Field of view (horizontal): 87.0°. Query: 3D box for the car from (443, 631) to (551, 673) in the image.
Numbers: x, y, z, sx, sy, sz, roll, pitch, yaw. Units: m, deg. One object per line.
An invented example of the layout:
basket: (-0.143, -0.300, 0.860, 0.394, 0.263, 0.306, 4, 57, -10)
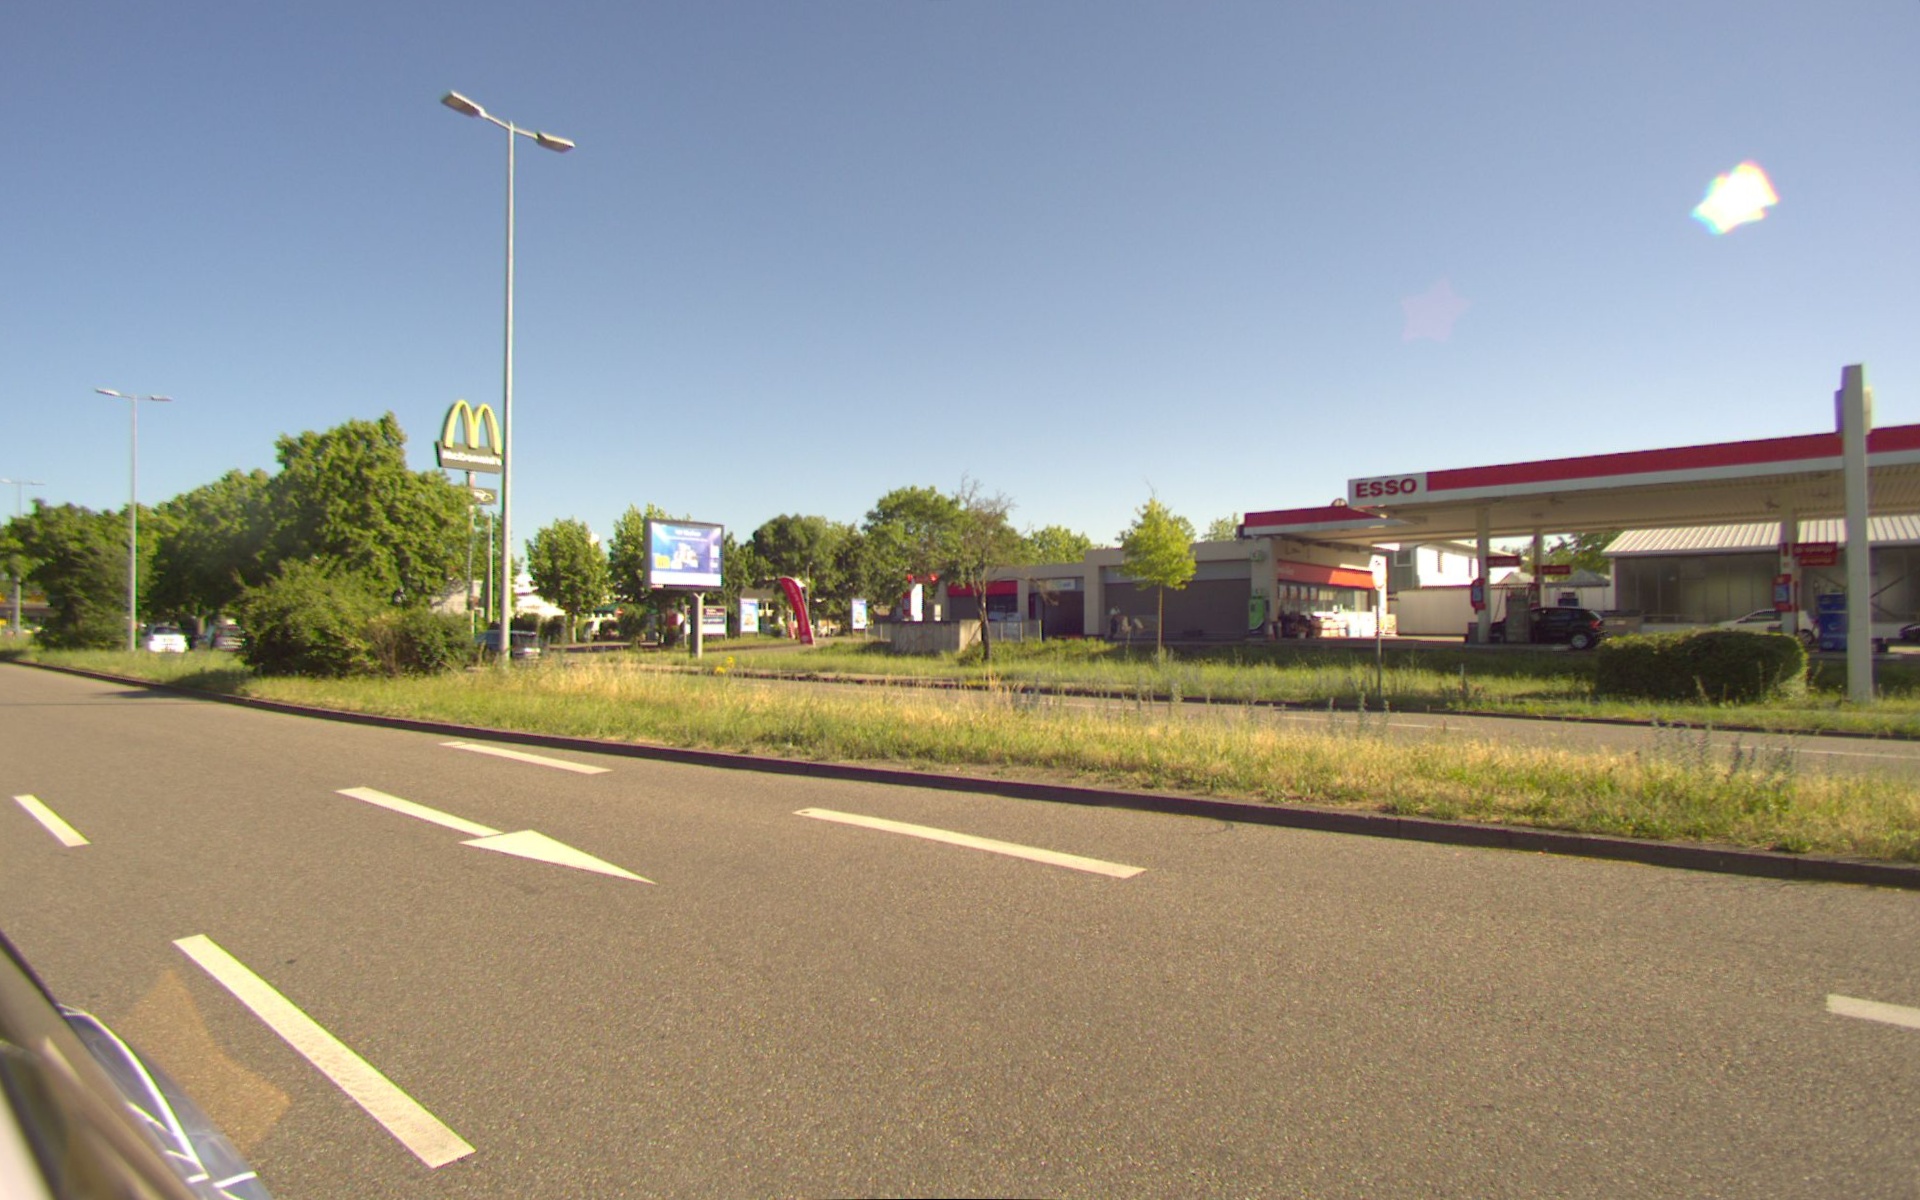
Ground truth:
car: (-16.305, 1.803, 35.531, 4.679, 1.344, 1.628, -1, -4, 41)

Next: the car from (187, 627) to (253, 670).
car: (-33.679, 2.165, 46.028, 3.705, 1.827, 1.628, -1, 0, 41)

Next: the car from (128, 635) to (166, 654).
car: (-72.091, 3.935, 89.690, 4.141, 1.562, 1.973, -1, 0, 41)

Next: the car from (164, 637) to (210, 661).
car: (-60.233, 3.788, 78.814, 4.769, 1.640, 1.973, -1, 0, 41)

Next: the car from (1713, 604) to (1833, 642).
car: (34.156, 0.955, 42.561, 3.855, 1.500, 1.973, -1, 0, 41)

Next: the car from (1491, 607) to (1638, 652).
car: (20.521, 1.001, 34.419, 3.998, 1.416, 1.973, -2, -2, 41)
